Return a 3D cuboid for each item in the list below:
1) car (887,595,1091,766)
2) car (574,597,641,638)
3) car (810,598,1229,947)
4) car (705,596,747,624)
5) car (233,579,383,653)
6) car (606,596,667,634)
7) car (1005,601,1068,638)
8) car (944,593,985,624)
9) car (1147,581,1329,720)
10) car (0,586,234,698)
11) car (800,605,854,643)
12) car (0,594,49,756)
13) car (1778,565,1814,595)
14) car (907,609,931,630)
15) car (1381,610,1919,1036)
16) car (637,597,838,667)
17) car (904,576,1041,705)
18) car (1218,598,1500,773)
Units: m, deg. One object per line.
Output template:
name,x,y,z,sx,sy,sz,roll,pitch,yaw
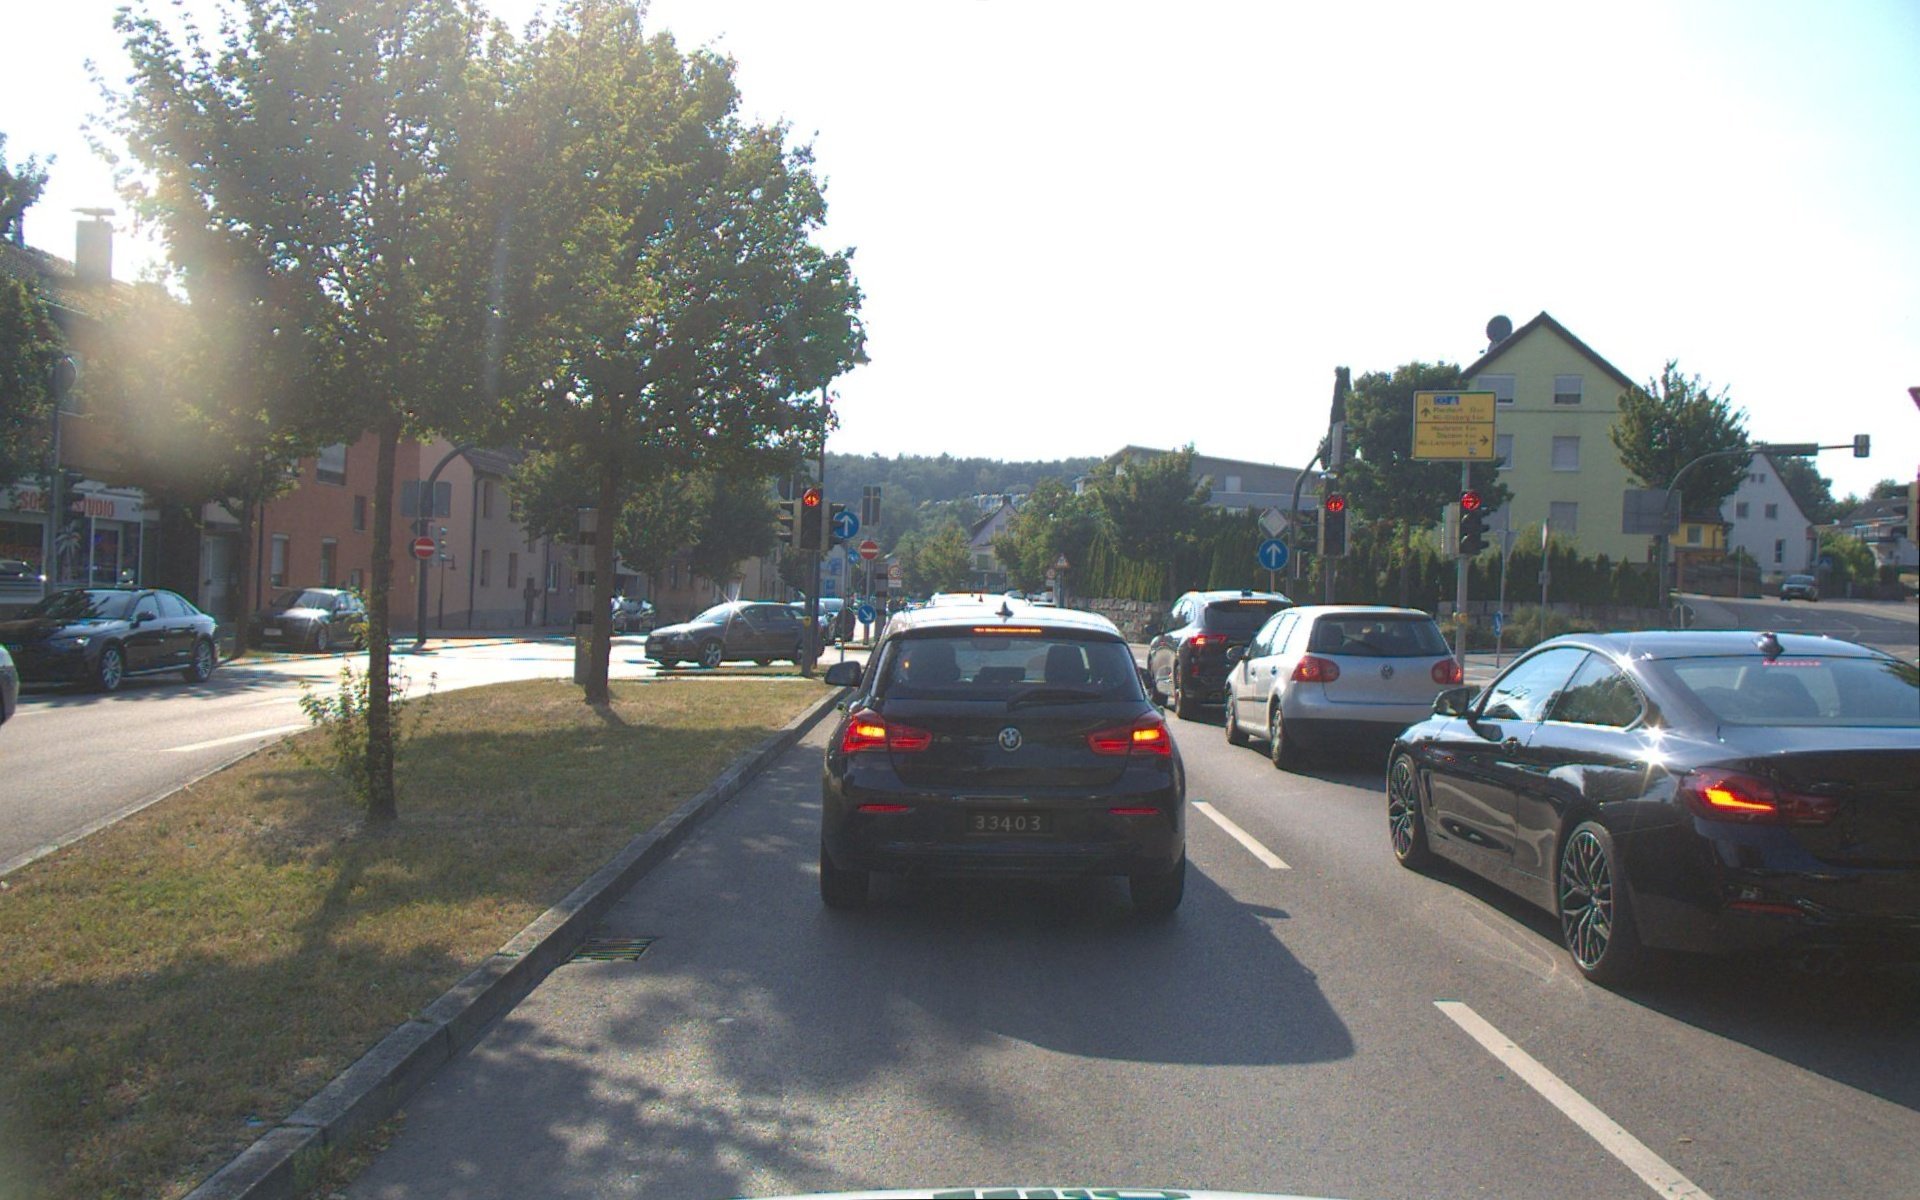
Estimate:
car,0.282,0.702,16.707,1.779,1.476,4.242,1,0,1
car,-14.725,0.697,69.257,1.884,1.624,4.000,1,0,1
car,0.275,0.727,9.176,1.754,1.439,4.347,1,0,1
car,-14.050,0.595,99.434,1.884,1.624,4.000,1,0,1
car,-15.501,0.366,39.529,1.805,1.579,4.001,3,0,2
car,-14.577,0.658,74.652,1.884,1.624,4.000,1,0,1
car,3.285,0.815,72.249,1.827,1.511,4.649,1,0,-9
car,0.208,0.467,94.482,1.854,1.732,4.517,0,0,-6
car,3.674,0.618,22.578,1.779,1.695,4.347,1,0,1
car,-12.464,0.540,24.053,1.806,1.446,4.643,1,0,-1
car,-5.133,0.925,64.197,1.658,1.377,4.000,1,0,1
car,-8.990,0.632,12.631,1.745,1.373,4.476,1,0,-3
car,48.234,-1.162,95.380,1.752,1.533,4.065,1,4,28
car,-3.326,1.593,134.886,1.885,1.624,3.999,1,0,-1
car,3.422,0.784,7.839,1.779,1.413,4.347,1,0,1
car,-4.820,0.683,36.115,4.152,1.411,1.626,1,0,-41
car,0.187,0.526,23.807,1.779,1.670,4.242,1,0,1
car,3.782,0.737,16.451,1.779,1.471,4.347,1,0,1
